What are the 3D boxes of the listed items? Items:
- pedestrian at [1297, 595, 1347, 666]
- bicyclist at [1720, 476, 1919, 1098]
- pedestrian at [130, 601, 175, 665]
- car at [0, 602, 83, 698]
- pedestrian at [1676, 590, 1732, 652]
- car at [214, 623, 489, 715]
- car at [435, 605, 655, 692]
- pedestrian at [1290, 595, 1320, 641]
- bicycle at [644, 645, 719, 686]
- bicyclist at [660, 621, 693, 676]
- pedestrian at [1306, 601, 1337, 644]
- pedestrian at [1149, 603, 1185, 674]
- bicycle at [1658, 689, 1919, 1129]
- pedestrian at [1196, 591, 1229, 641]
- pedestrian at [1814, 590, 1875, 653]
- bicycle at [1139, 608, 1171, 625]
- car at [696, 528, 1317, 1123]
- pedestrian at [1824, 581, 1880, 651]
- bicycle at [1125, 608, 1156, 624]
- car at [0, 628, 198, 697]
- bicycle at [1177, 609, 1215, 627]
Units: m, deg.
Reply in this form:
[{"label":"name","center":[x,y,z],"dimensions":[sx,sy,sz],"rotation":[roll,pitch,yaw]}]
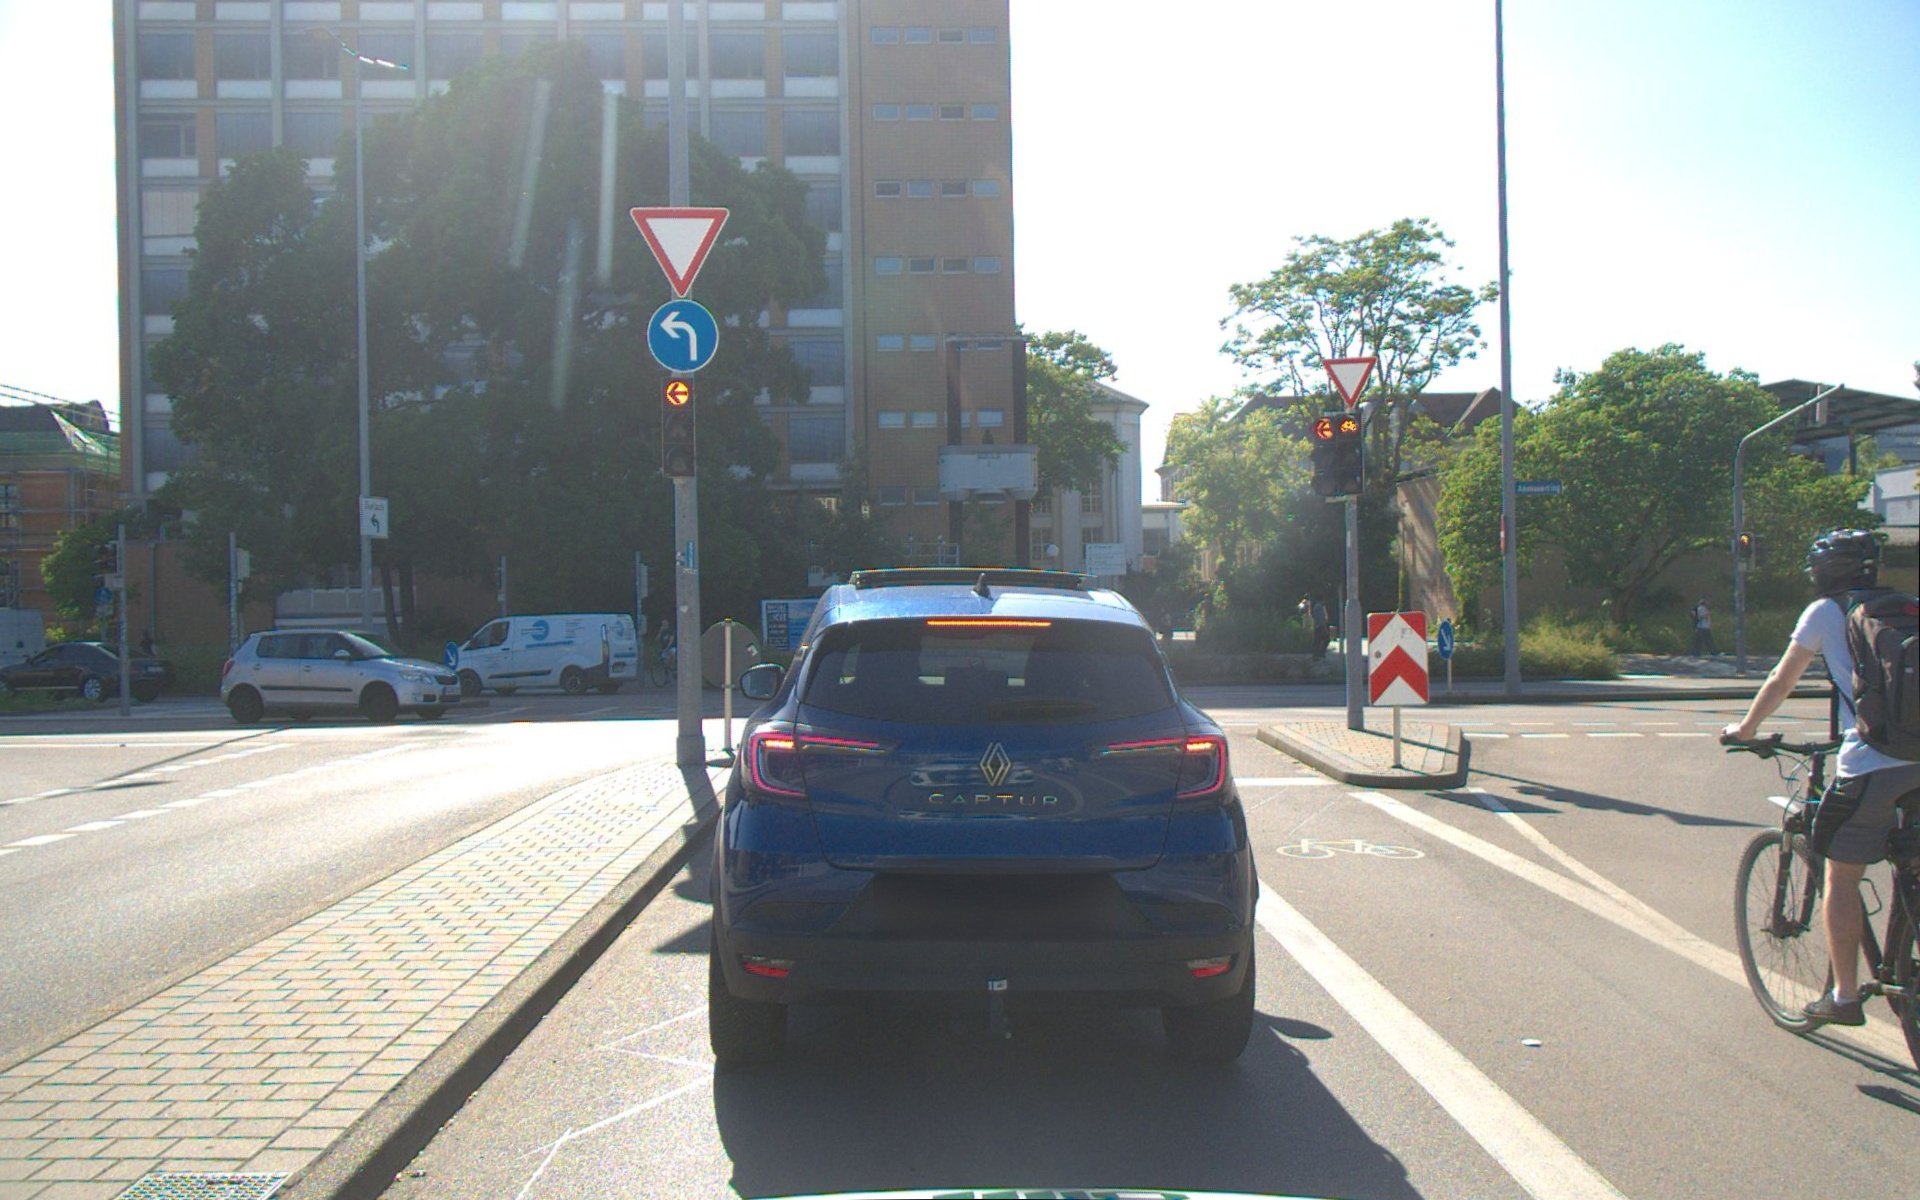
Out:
[{"label":"pedestrian","center":[9.861,0.817,45.112],"dimensions":[1.269,1.888,0.967],"rotation":[-1,0,11]},{"label":"bicyclist","center":[3.010,0.553,5.321],"dimensions":[0.663,1.816,0.939],"rotation":[1,-1,-2]},{"label":"pedestrian","center":[-26.268,1.081,53.805],"dimensions":[0.807,2.049,1.013],"rotation":[-1,0,28]},{"label":"car","center":[-29.011,1.425,47.448],"dimensions":[6.791,2.591,3.014],"rotation":[-1,0,20]},{"label":"pedestrian","center":[19.103,0.526,42.474],"dimensions":[1.062,1.547,0.931],"rotation":[-1,0,9]},{"label":"car","center":[-9.904,1.115,27.050],"dimensions":[3.762,1.428,1.893],"rotation":[0,-3,12]},{"label":"car","center":[-10.317,1.201,41.232],"dimensions":[4.892,2.049,2.074],"rotation":[-1,0,14]},{"label":"pedestrian","center":[13.463,0.683,64.589],"dimensions":[0.933,1.772,0.984],"rotation":[-1,0,-1]},{"label":"bicycle","center":[-7.397,1.743,43.947],"dimensions":[1.848,1.025,0.691],"rotation":[0,-3,-37]},{"label":"bicyclist","center":[-7.524,1.289,43.874],"dimensions":[0.632,1.437,0.640],"rotation":[0,-3,-37]},{"label":"pedestrian","center":[13.981,0.863,63.943],"dimensions":[0.917,1.641,1.175],"rotation":[-1,0,-1]},{"label":"pedestrian","center":[5.659,1.042,45.207],"dimensions":[0.912,1.888,0.808],"rotation":[-1,0,8]},{"label":"bicycle","center":[2.992,0.920,5.386],"dimensions":[0.602,1.158,1.825],"rotation":[0,0,-2]},{"label":"pedestrian","center":[10.532,0.669,68.993],"dimensions":[1.132,2.049,1.164],"rotation":[-1,0,-1]},{"label":"pedestrian","center":[22.119,0.524,41.364],"dimensions":[1.052,1.547,0.879],"rotation":[-1,0,4]},{"label":"bicycle","center":[11.200,0.938,94.988],"dimensions":[1.735,0.914,0.765],"rotation":[-1,0,-1]},{"label":"car","center":[0.083,0.636,6.641],"dimensions":[1.758,1.684,3.852],"rotation":[1,0,-2]},{"label":"pedestrian","center":[22.917,0.417,42.514],"dimensions":[0.942,1.763,0.926],"rotation":[-1,0,6]},{"label":"bicycle","center":[10.854,0.967,99.346],"dimensions":[1.735,0.908,0.765],"rotation":[-1,0,-1]},{"label":"car","center":[-22.032,1.570,41.797],"dimensions":[4.739,1.609,2.103],"rotation":[-1,0,14]},{"label":"bicycle","center":[11.857,0.891,83.196],"dimensions":[1.739,0.837,0.763],"rotation":[-1,0,-11]}]
